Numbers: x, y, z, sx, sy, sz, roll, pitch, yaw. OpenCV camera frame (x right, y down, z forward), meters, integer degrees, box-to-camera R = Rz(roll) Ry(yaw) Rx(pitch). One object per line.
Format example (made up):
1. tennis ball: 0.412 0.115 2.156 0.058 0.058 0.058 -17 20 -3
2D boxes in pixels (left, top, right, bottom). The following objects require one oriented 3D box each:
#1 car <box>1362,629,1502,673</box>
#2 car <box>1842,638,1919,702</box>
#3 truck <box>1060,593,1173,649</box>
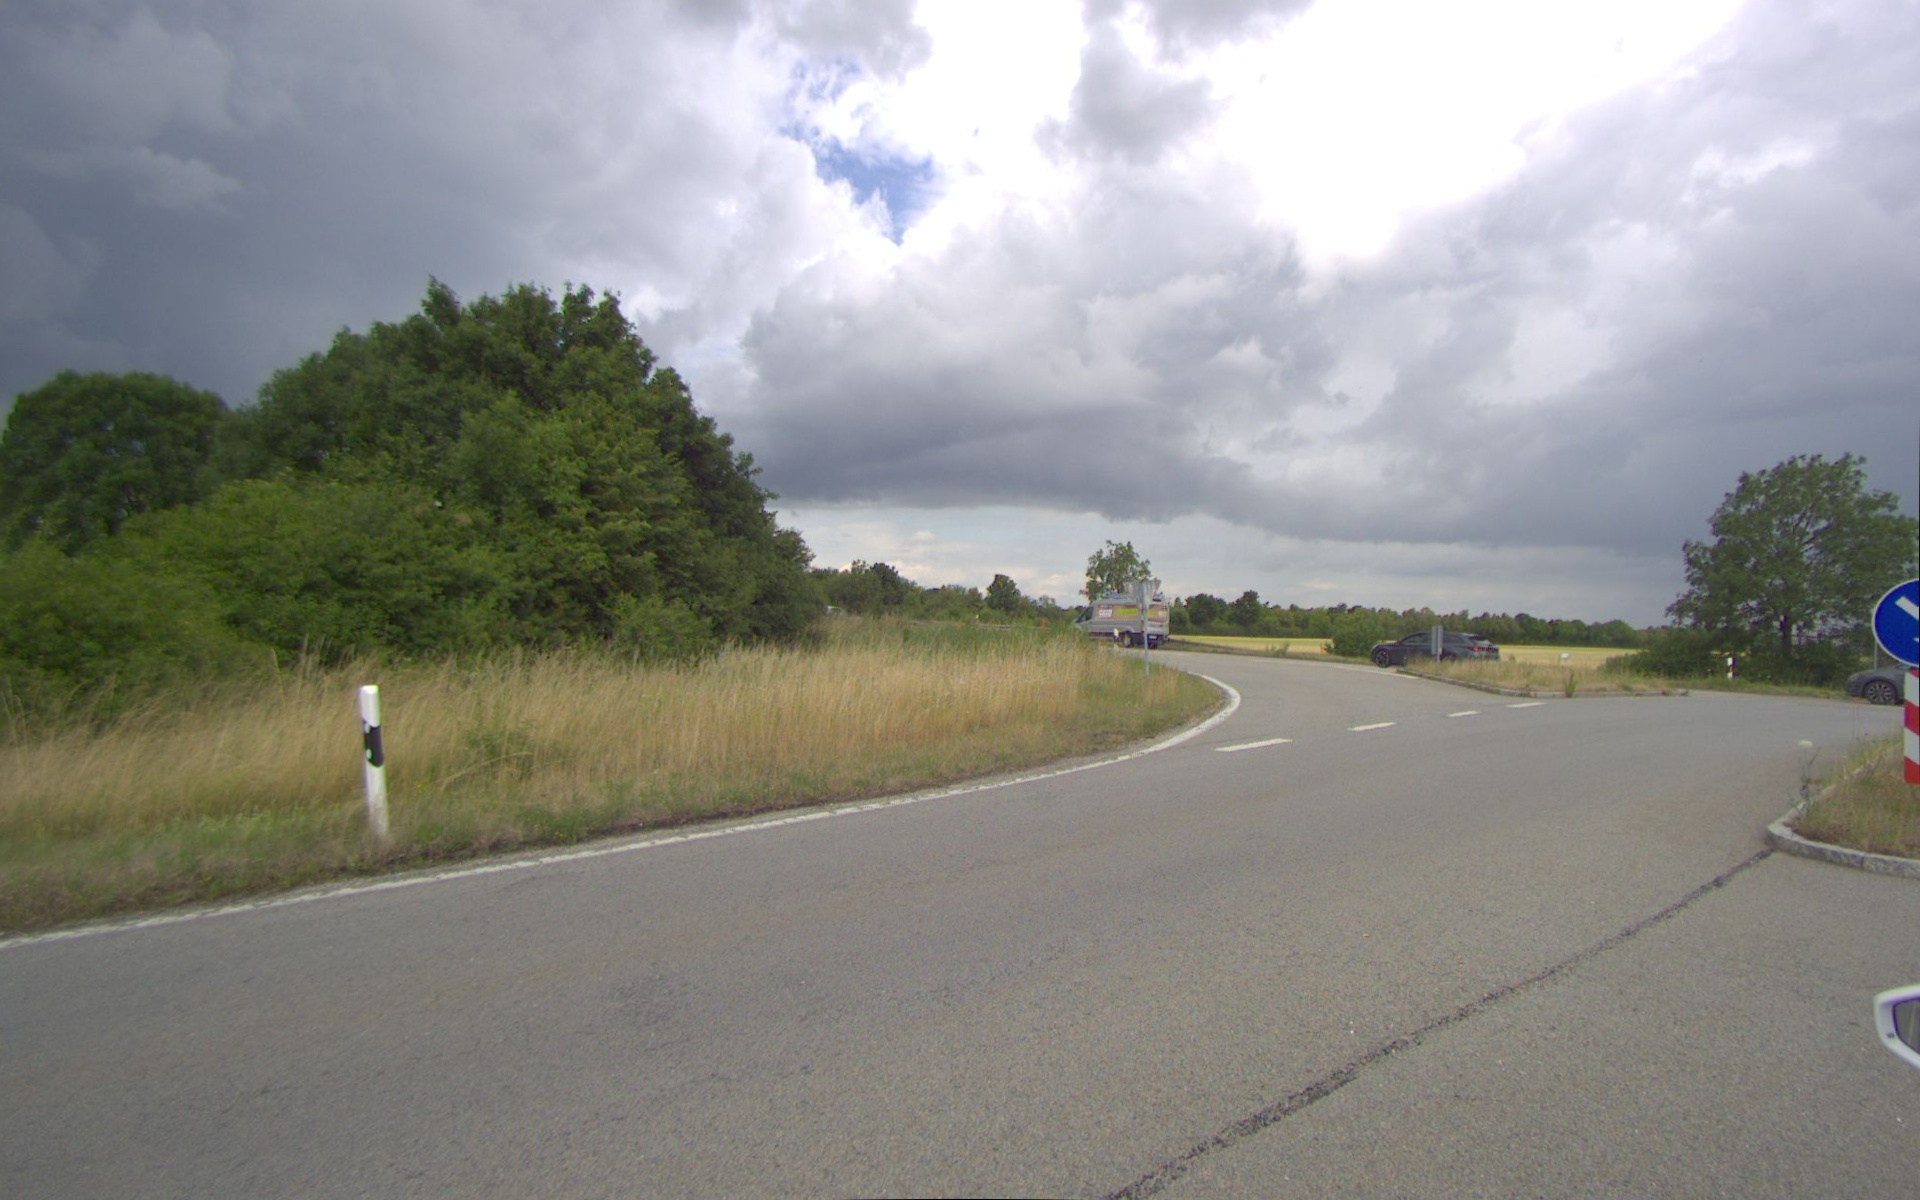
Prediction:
1. car: 16.829 1.784 35.988 1.665 1.362 4.313 1 -1 -35
2. car: 25.806 1.829 25.958 1.980 1.622 4.183 1 -2 -35
3. truck: 7.919 1.052 51.477 2.047 2.739 5.980 1 -1 -37
